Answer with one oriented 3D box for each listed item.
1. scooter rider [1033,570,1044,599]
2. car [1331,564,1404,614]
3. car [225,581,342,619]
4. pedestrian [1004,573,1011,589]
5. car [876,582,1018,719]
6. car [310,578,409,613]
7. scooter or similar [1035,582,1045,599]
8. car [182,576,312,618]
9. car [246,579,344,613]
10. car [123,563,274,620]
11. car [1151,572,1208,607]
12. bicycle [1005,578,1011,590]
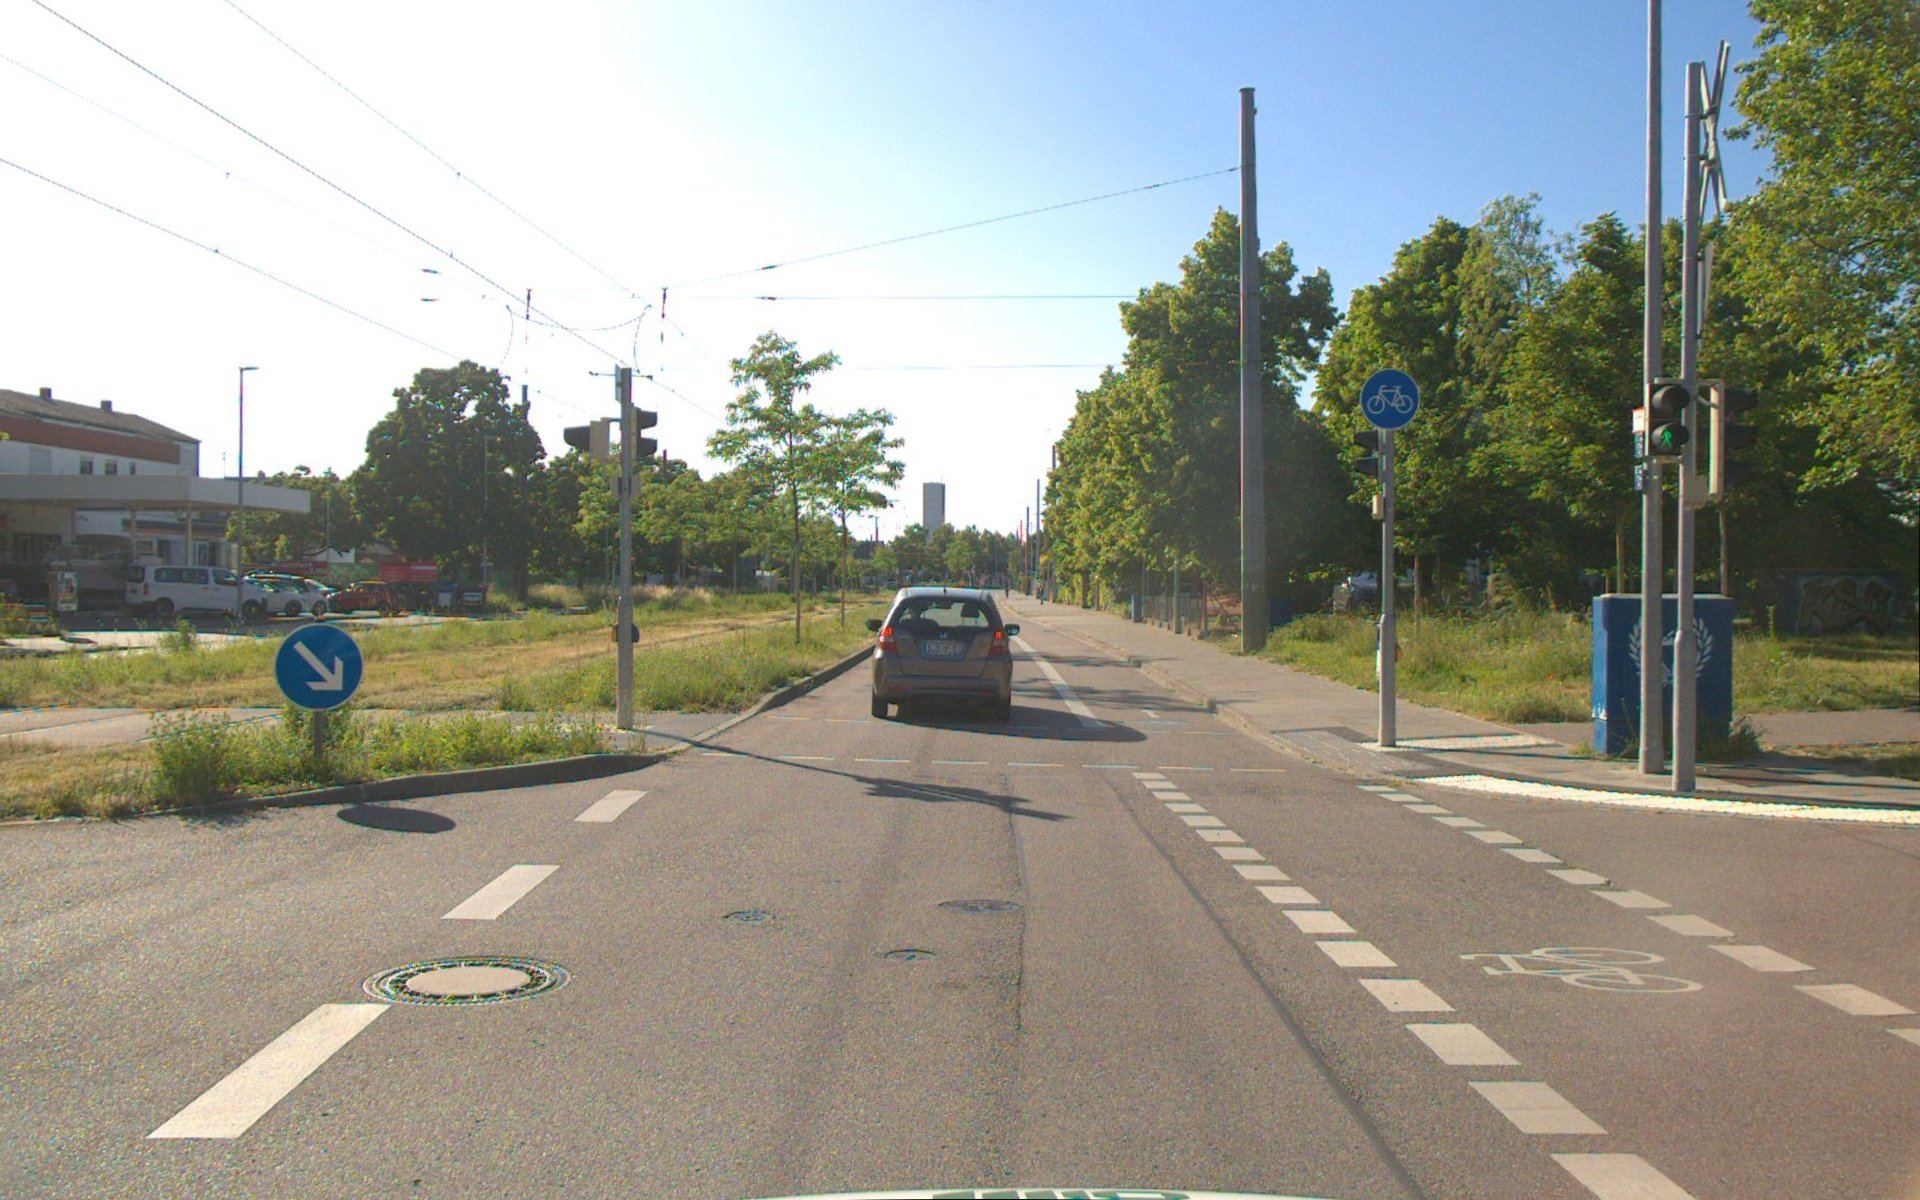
[{"bbox_3d":[5.232,-1.049,110.323,0.701,1.934,0.934,0,0,-1],"label":"scooter rider"},{"bbox_3d":[17.096,-0.487,69.665,1.833,2.001,5.167,1,1,0],"label":"car"},{"bbox_3d":[-28.492,-0.026,69.769,1.753,1.496,4.462,0,1,30],"label":"car"},{"bbox_3d":[5.182,-2.062,179.424,0.707,1.832,1.164,0,0,-1],"label":"pedestrian"},{"bbox_3d":[-0.095,0.561,20.455,1.590,1.526,3.457,1,0,2],"label":"car"},{"bbox_3d":[-28.179,-0.204,77.730,3.988,1.596,1.792,0,1,-2],"label":"car"},{"bbox_3d":[5.331,-0.632,110.411,0.528,1.138,1.417,0,0,-1],"label":"scooter or similar"},{"bbox_3d":[-28.191,-0.149,65.530,1.758,1.554,4.451,0,1,38],"label":"car"},{"bbox_3d":[-32.215,-0.223,80.181,3.988,1.596,1.792,0,1,-2],"label":"car"},{"bbox_3d":[-28.118,-0.337,61.199,1.825,2.008,4.764,0,1,38],"label":"car"},{"bbox_3d":[9.261,-0.464,70.039,1.738,1.411,3.868,-1,1,-3],"label":"car"},{"bbox_3d":[5.219,-1.763,179.531,0.502,1.263,3.089,0,1,0],"label":"bicycle"}]
